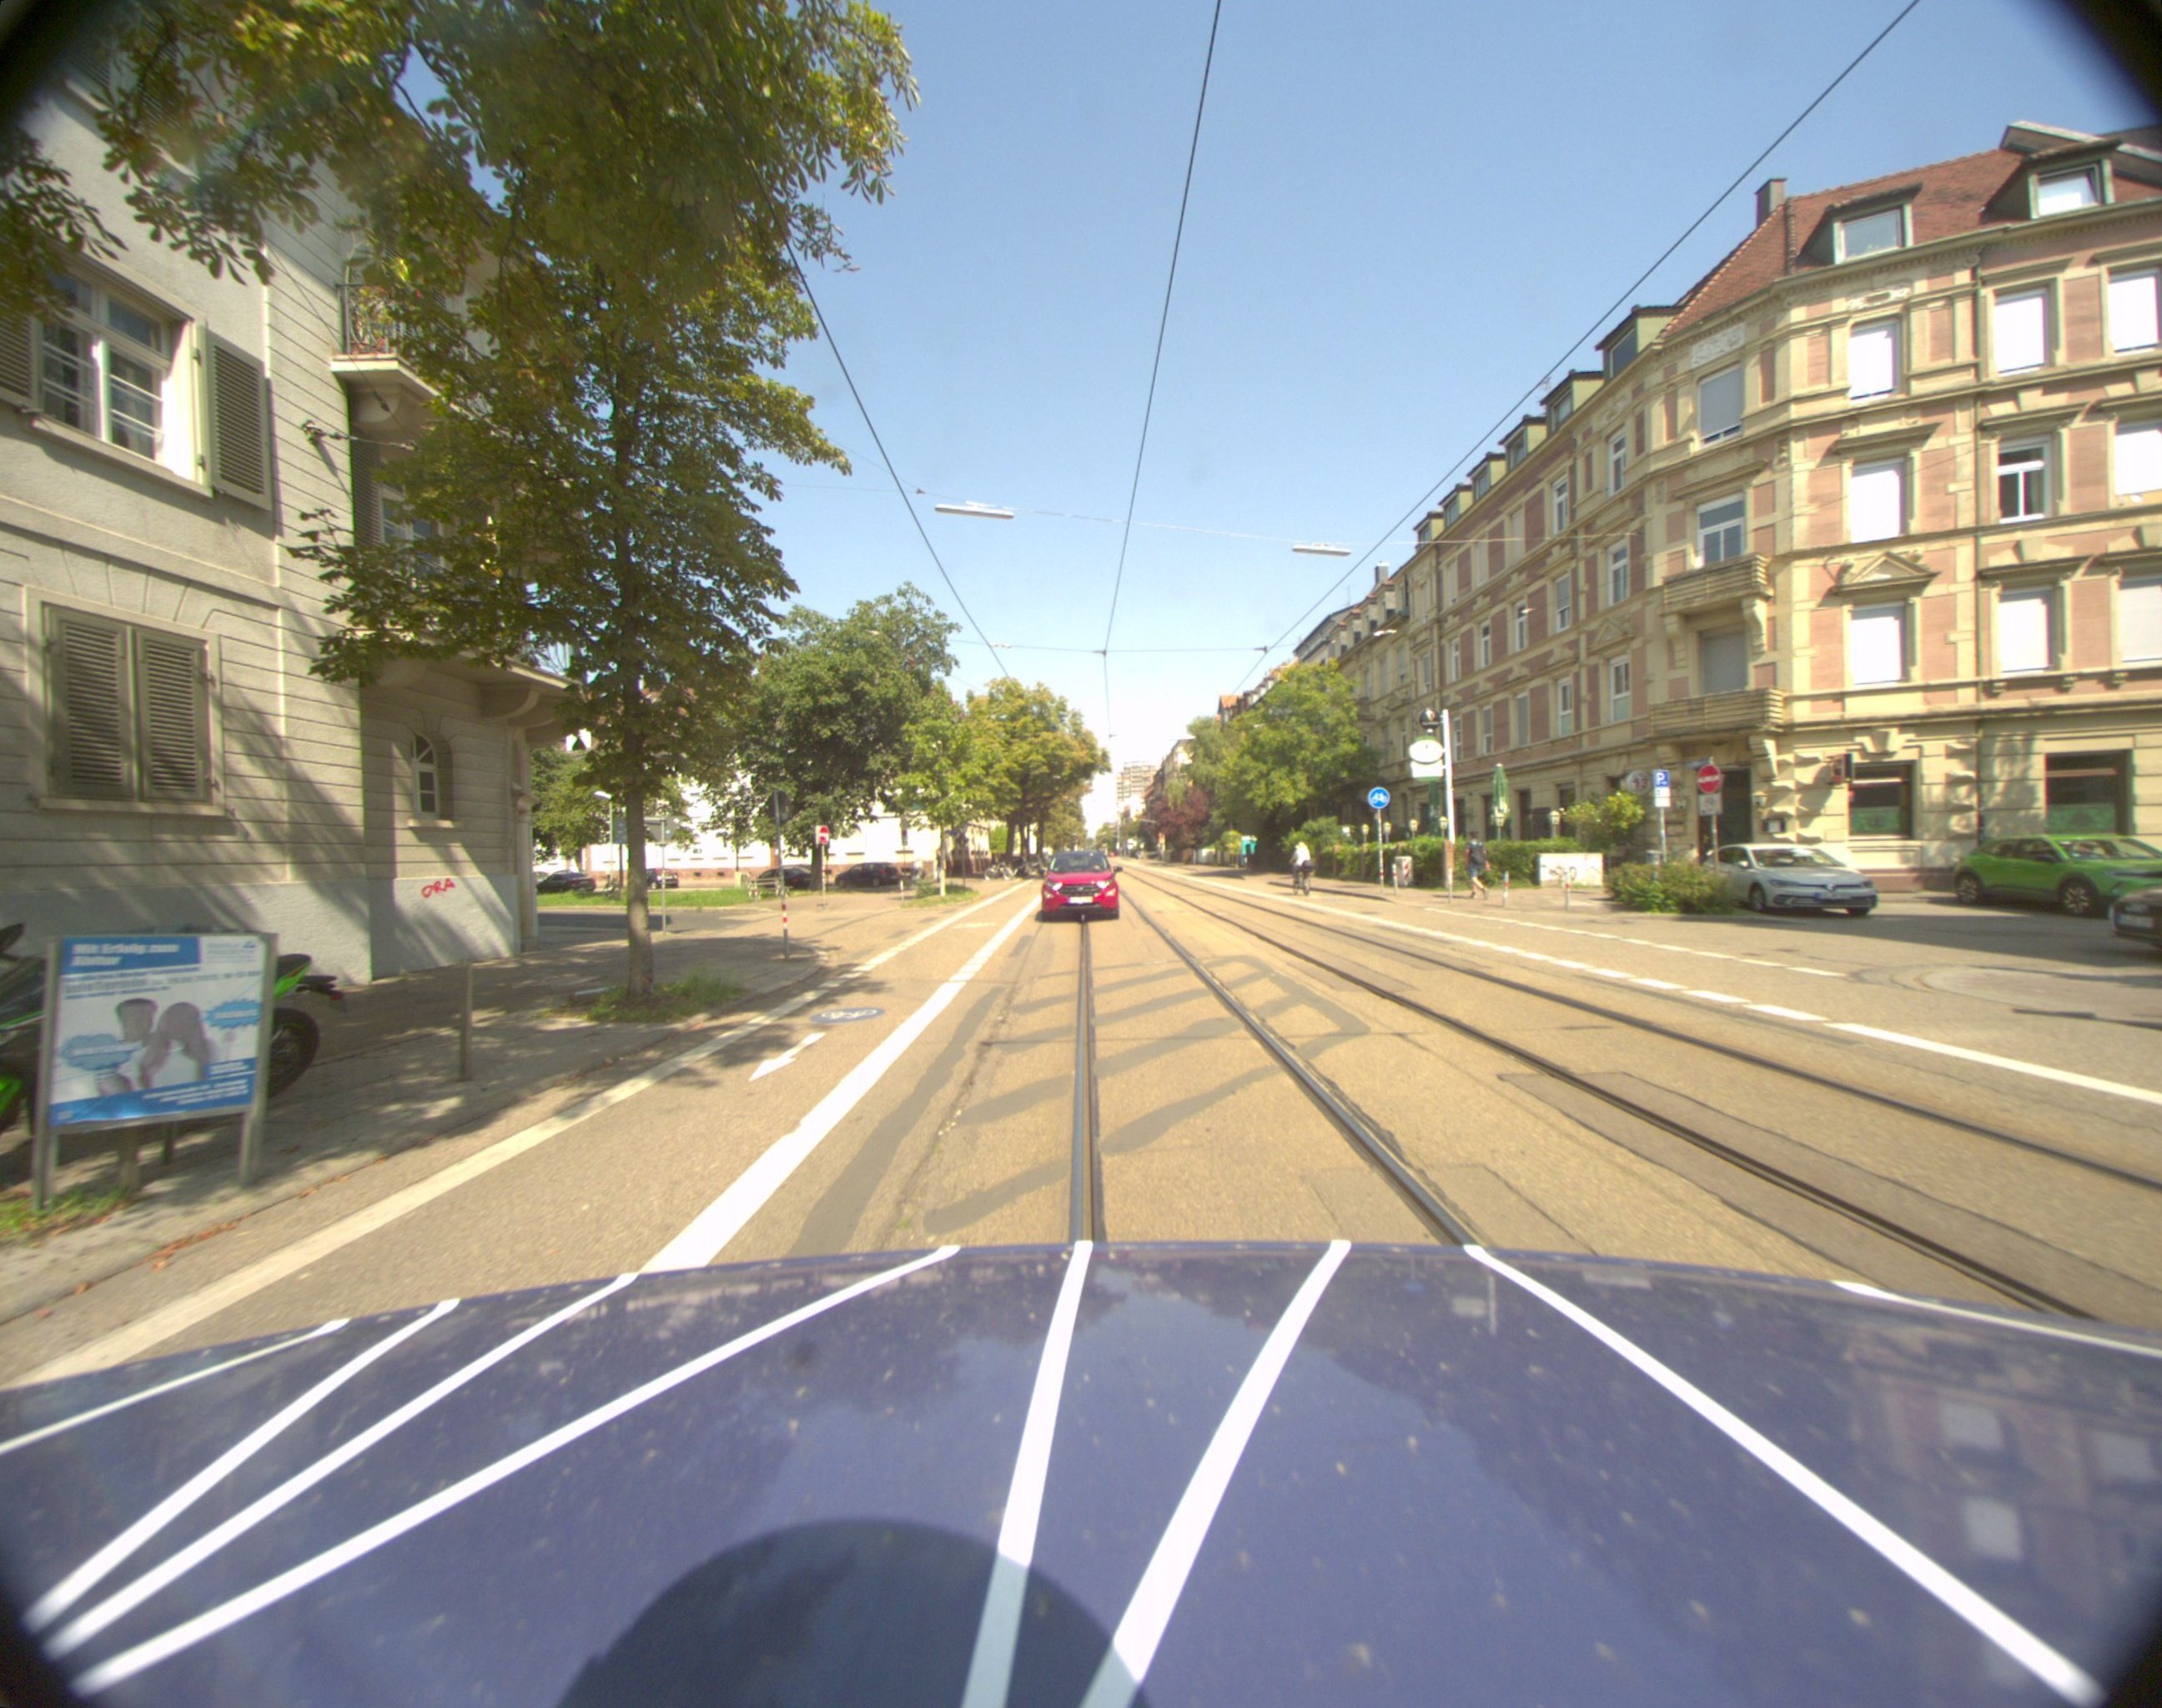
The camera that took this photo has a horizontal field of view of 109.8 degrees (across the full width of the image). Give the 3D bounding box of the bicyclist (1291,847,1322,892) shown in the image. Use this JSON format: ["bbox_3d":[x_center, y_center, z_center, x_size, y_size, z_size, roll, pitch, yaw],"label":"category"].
[{"bbox_3d":[7.291,0.479,24.588,0.657,1.420,0.974,-1,0,-2],"label":"bicyclist"}]

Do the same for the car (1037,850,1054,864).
[{"bbox_3d":[-4.027,0.359,87.331,1.598,1.489,4.052,-2,0,1],"label":"car"}]

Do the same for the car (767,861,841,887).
[{"bbox_3d":[-16.752,1.225,45.986,3.990,1.430,1.979,-2,0,27],"label":"car"}]

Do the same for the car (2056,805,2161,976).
[{"bbox_3d":[14.548,0.349,8.533,3.991,1.977,1.893,-2,1,22],"label":"car"}]

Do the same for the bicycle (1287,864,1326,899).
[{"bbox_3d":[7.296,0.867,24.627,0.642,1.070,1.915,-1,0,-1],"label":"bicycle"}]

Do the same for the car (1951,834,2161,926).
[{"bbox_3d":[19.478,0.426,14.844,1.735,1.565,3.745,-2,1,22],"label":"car"}]

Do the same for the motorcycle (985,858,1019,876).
[{"bbox_3d":[-4.818,0.789,46.395,2.000,1.009,0.796,-2,1,0],"label":"motorcycle"}]

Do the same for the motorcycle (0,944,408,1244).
[{"bbox_3d":[-5.399,1.238,4.383,0.829,1.105,2.497,-2,0,-2],"label":"motorcycle"}]

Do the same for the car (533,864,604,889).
[{"bbox_3d":[-32.114,1.402,47.618,4.267,1.422,1.841,-2,0,27],"label":"car"}]

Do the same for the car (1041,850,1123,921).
[{"bbox_3d":[0.087,0.712,19.282,1.815,1.542,4.021,-2,0,2],"label":"car"}]

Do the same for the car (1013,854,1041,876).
[{"bbox_3d":[-3.837,0.764,54.821,1.598,1.489,4.052,-1,0,1],"label":"car"}]

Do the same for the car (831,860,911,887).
[{"bbox_3d":[-12.035,1.124,43.582,3.990,1.435,1.978,-2,0,23],"label":"car"}]

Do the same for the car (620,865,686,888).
[{"bbox_3d":[-29.219,1.551,51.859,3.990,1.430,1.979,-2,0,27],"label":"car"}]

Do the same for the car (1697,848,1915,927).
[{"bbox_3d":[15.303,0.623,16.380,1.995,1.480,4.151,-1,0,22],"label":"car"}]

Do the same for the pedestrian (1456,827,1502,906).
[{"bbox_3d":[10.438,0.314,19.950,0.657,2.002,0.974,-1,1,-2],"label":"pedestrian"}]

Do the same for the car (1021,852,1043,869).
[{"bbox_3d":[-4.515,0.590,70.516,1.598,1.489,4.052,-2,0,1],"label":"car"}]

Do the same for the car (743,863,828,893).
[{"bbox_3d":[-15.151,1.226,38.973,3.990,1.422,1.841,-2,0,27],"label":"car"}]

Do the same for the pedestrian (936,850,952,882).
[{"bbox_3d":[-7.859,0.676,43.618,0.749,1.775,0.632,-2,1,1],"label":"pedestrian"}]

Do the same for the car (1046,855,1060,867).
[{"bbox_3d":[-3.667,0.872,99.842,1.555,1.489,4.265,-2,0,1],"label":"car"}]
